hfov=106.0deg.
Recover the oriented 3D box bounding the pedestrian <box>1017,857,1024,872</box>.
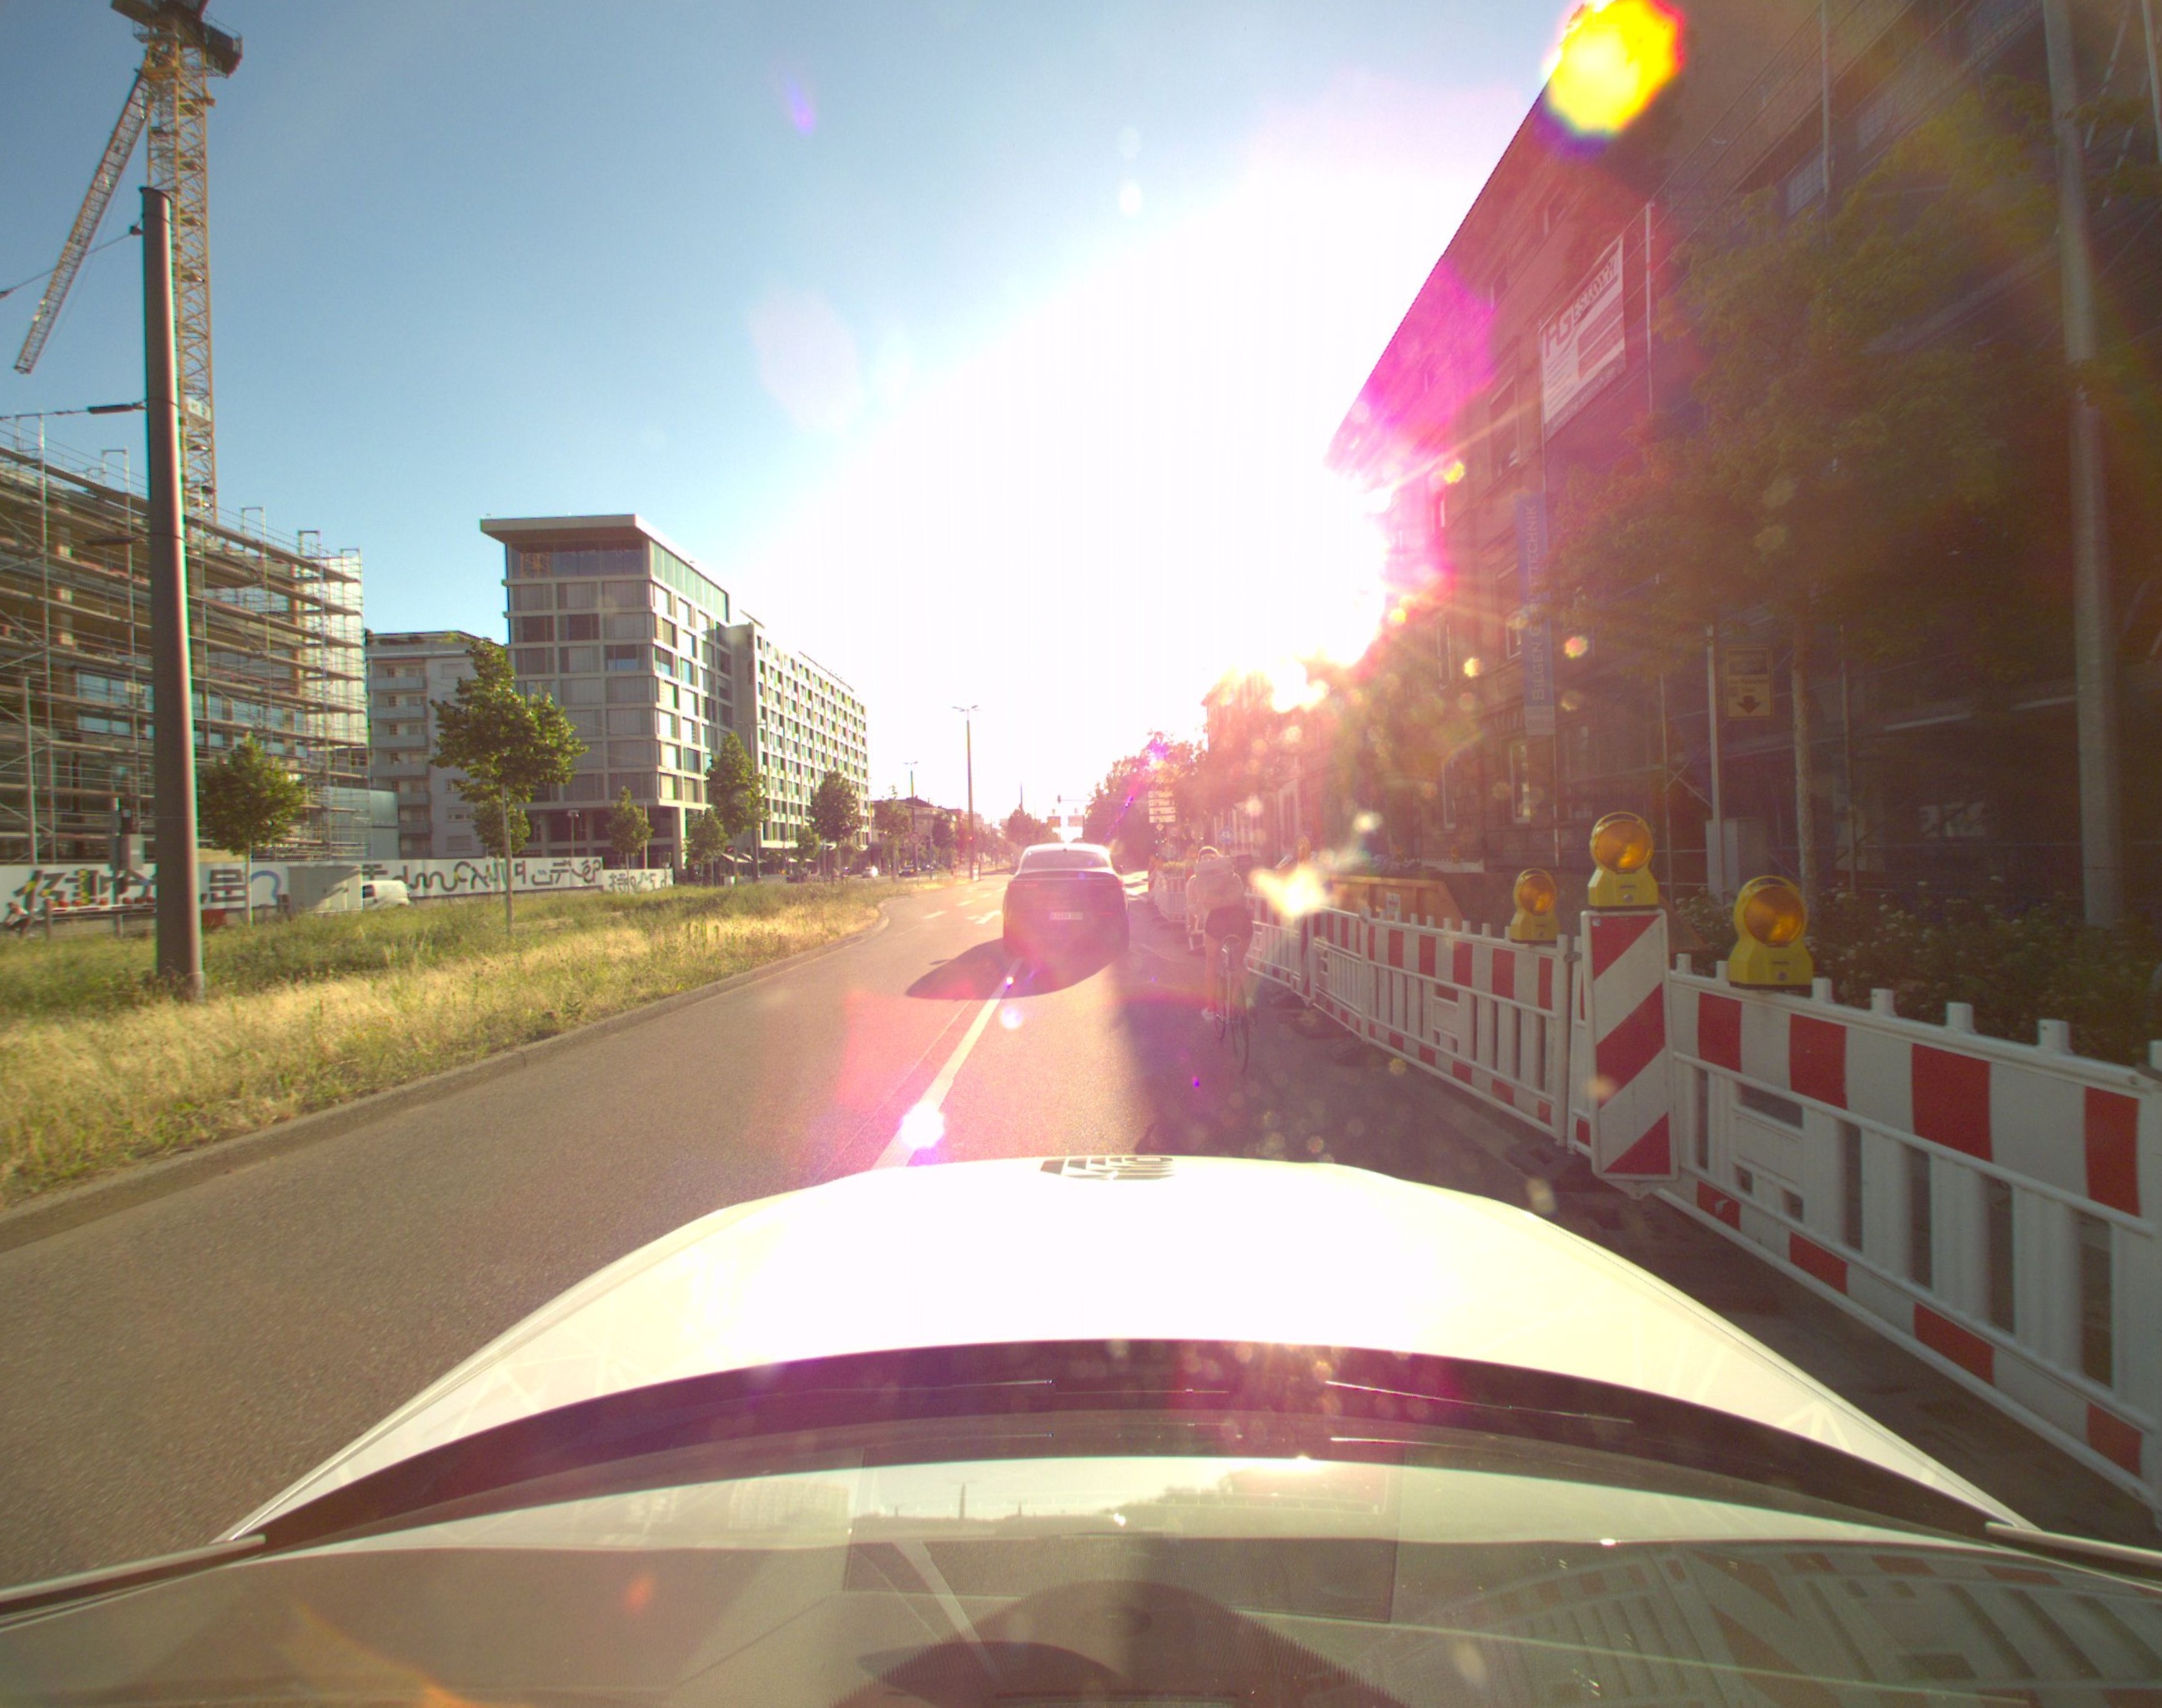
[{"bbox_3d":[-6.629,1.148,89.280,0.595,1.699,0.715,-2,0,5],"label":"pedestrian"}]

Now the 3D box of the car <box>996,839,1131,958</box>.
[{"bbox_3d":[-0.279,0.644,14.128,1.988,1.734,3.999,-1,0,-1],"label":"car"}]

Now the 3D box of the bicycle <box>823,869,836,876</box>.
[{"bbox_3d":[-38.901,2.884,126.171,1.802,0.905,0.511,-2,-1,-7],"label":"bicycle"}]

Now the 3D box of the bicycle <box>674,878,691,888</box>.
[{"bbox_3d":[-39.796,2.893,81.346,0.616,0.936,2.216,-2,0,0],"label":"bicycle"}]

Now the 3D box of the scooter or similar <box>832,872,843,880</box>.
[{"bbox_3d":[-31.615,2.814,105.809,1.239,1.019,0.435,-2,0,0],"label":"scooter or similar"}]

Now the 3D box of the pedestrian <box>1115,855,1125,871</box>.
[{"bbox_3d":[4.225,0.954,88.452,0.766,1.636,0.767,-4,0,-10],"label":"pedestrian"}]

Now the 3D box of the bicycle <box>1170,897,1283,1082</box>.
[{"bbox_3d":[1.067,0.948,6.309,0.519,1.097,1.842,-2,0,0],"label":"bicycle"}]

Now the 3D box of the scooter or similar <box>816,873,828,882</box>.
[{"bbox_3d":[-31.692,2.896,99.738,1.239,1.019,0.511,-2,0,0],"label":"scooter or similar"}]

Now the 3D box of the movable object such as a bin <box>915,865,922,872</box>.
[{"bbox_3d":[-30.974,2.813,155.323,0.851,1.280,0.943,-2,-1,14],"label":"movable object such as a bin"}]

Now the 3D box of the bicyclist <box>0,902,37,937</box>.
[{"bbox_3d":[-37.604,2.318,28.808,0.476,1.154,0.639,-2,0,2],"label":"bicyclist"}]

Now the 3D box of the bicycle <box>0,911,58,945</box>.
[{"bbox_3d":[-37.594,2.623,28.904,0.476,1.061,1.566,-2,0,4],"label":"bicycle"}]

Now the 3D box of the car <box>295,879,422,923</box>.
[{"bbox_3d":[-29.559,1.880,33.478,1.597,1.558,3.845,-2,0,3],"label":"car"}]

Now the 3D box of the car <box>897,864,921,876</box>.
[{"bbox_3d":[-21.113,1.927,100.034,1.885,1.343,4.849,-2,0,0],"label":"car"}]

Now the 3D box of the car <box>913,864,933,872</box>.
[{"bbox_3d":[-31.802,2.806,164.174,3.645,1.523,1.601,0,-1,-41],"label":"car"}]

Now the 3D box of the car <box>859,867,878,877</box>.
[{"bbox_3d":[-31.545,2.674,121.207,1.751,1.328,4.000,-1,0,0],"label":"car"}]

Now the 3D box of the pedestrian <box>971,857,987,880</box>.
[{"bbox_3d":[-7.401,1.030,59.077,0.918,1.649,0.768,-2,-1,12],"label":"pedestrian"}]

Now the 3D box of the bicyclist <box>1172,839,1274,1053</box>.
[{"bbox_3d":[1.062,0.648,6.299,0.550,1.491,1.081,-2,0,0],"label":"bicyclist"}]

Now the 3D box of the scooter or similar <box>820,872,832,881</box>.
[{"bbox_3d":[-31.715,2.796,101.265,1.239,1.019,0.435,-2,0,0],"label":"scooter or similar"}]

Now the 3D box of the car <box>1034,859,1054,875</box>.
[{"bbox_3d":[-3.740,1.304,82.685,1.880,1.580,3.999,-1,0,-1],"label":"car"}]

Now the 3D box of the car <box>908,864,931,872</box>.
[{"bbox_3d":[-31.836,2.769,160.619,4.117,1.601,1.729,1,0,-41],"label":"car"}]

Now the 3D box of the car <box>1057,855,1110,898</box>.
[{"bbox_3d":[0.085,0.820,32.018,1.891,1.527,4.057,-2,0,-1],"label":"car"}]
